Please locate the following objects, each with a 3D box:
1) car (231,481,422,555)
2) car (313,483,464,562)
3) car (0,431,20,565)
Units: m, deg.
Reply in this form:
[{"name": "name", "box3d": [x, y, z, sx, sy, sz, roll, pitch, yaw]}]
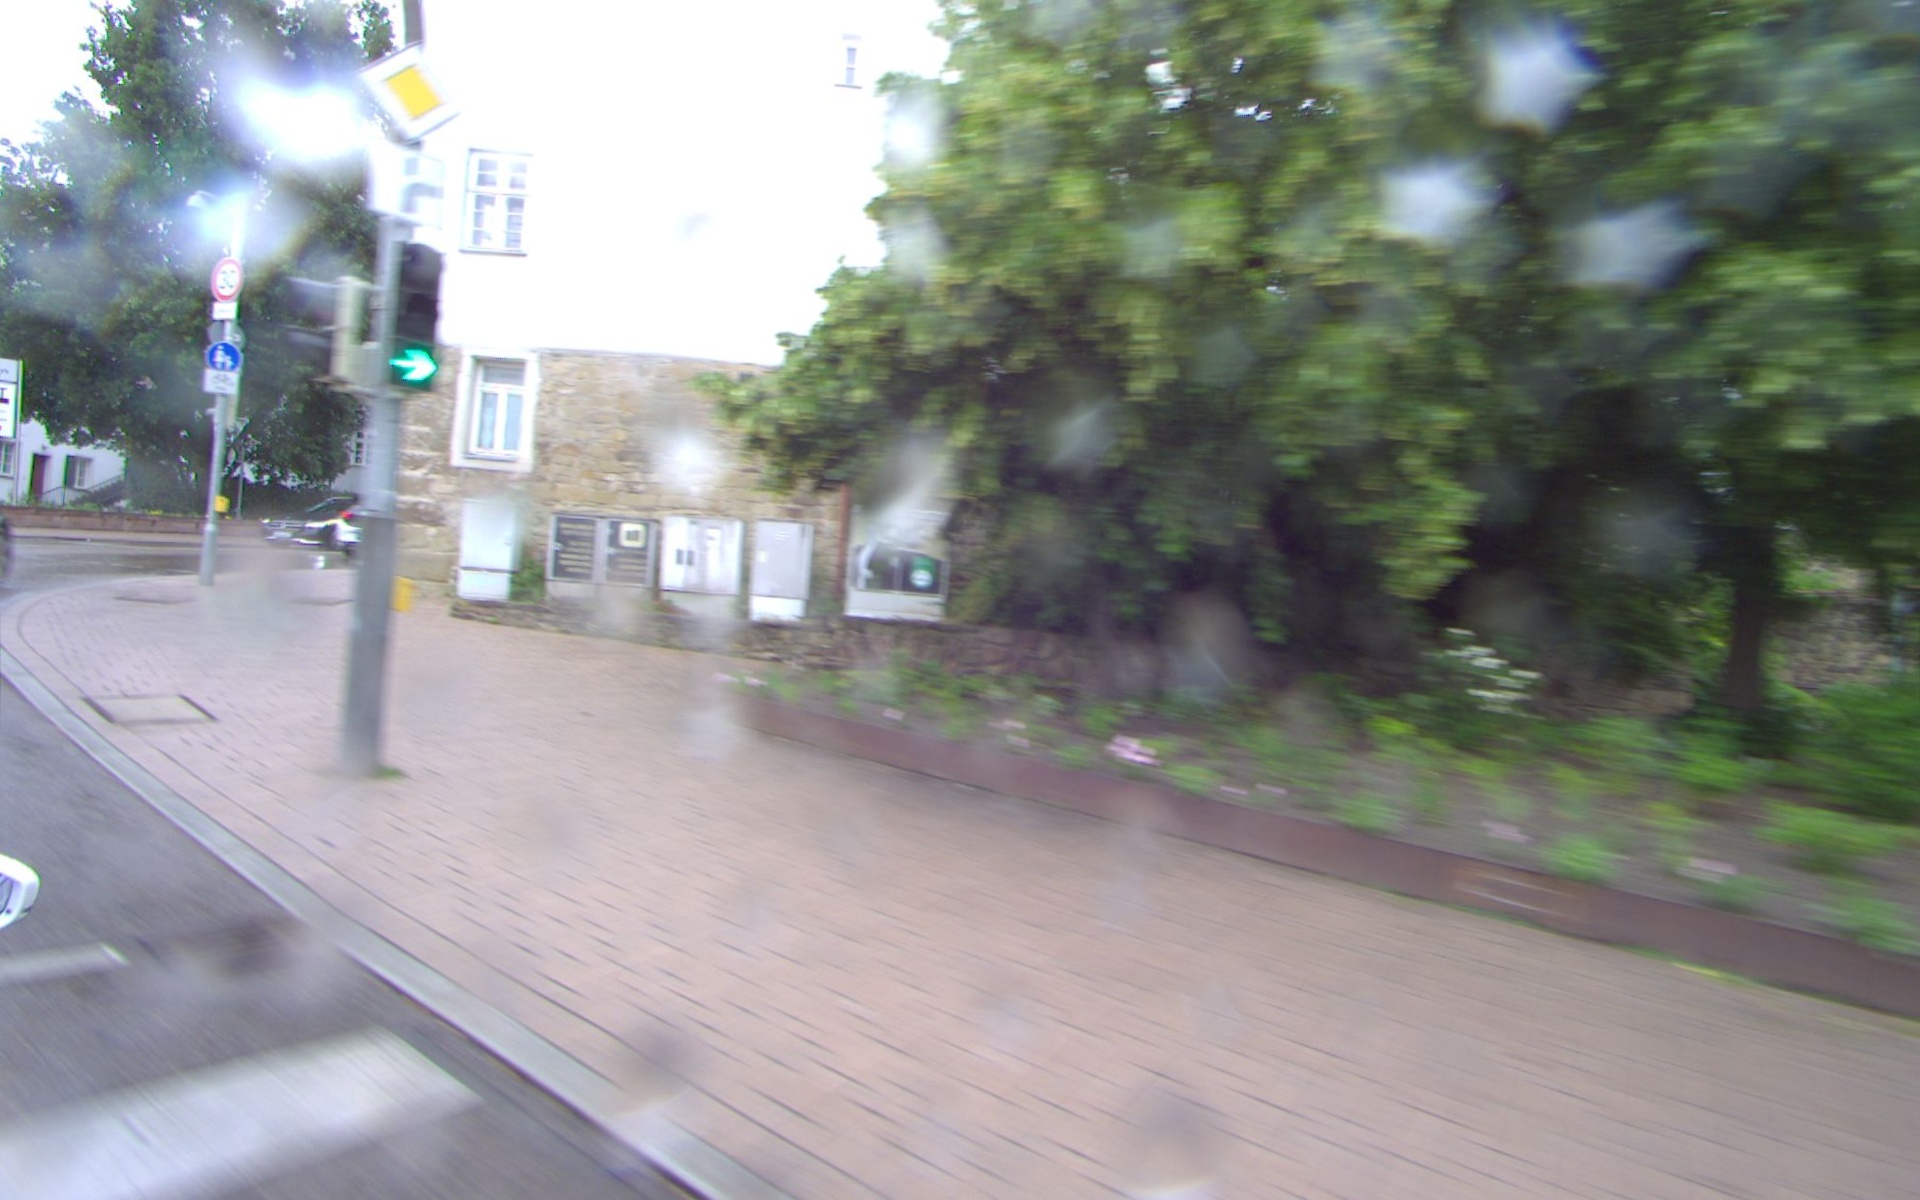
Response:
[{"name": "car", "box3d": [-16.800, -2.119, 27.000, 1.962, 1.559, 4.410, 6, 2, 5]}, {"name": "car", "box3d": [-13.203, -1.757, 23.518, 1.831, 1.493, 3.988, 5, 2, -11]}, {"name": "car", "box3d": [-10.562, -1.051, 9.229, 1.871, 1.467, 4.320, 4, 3, -31]}]
